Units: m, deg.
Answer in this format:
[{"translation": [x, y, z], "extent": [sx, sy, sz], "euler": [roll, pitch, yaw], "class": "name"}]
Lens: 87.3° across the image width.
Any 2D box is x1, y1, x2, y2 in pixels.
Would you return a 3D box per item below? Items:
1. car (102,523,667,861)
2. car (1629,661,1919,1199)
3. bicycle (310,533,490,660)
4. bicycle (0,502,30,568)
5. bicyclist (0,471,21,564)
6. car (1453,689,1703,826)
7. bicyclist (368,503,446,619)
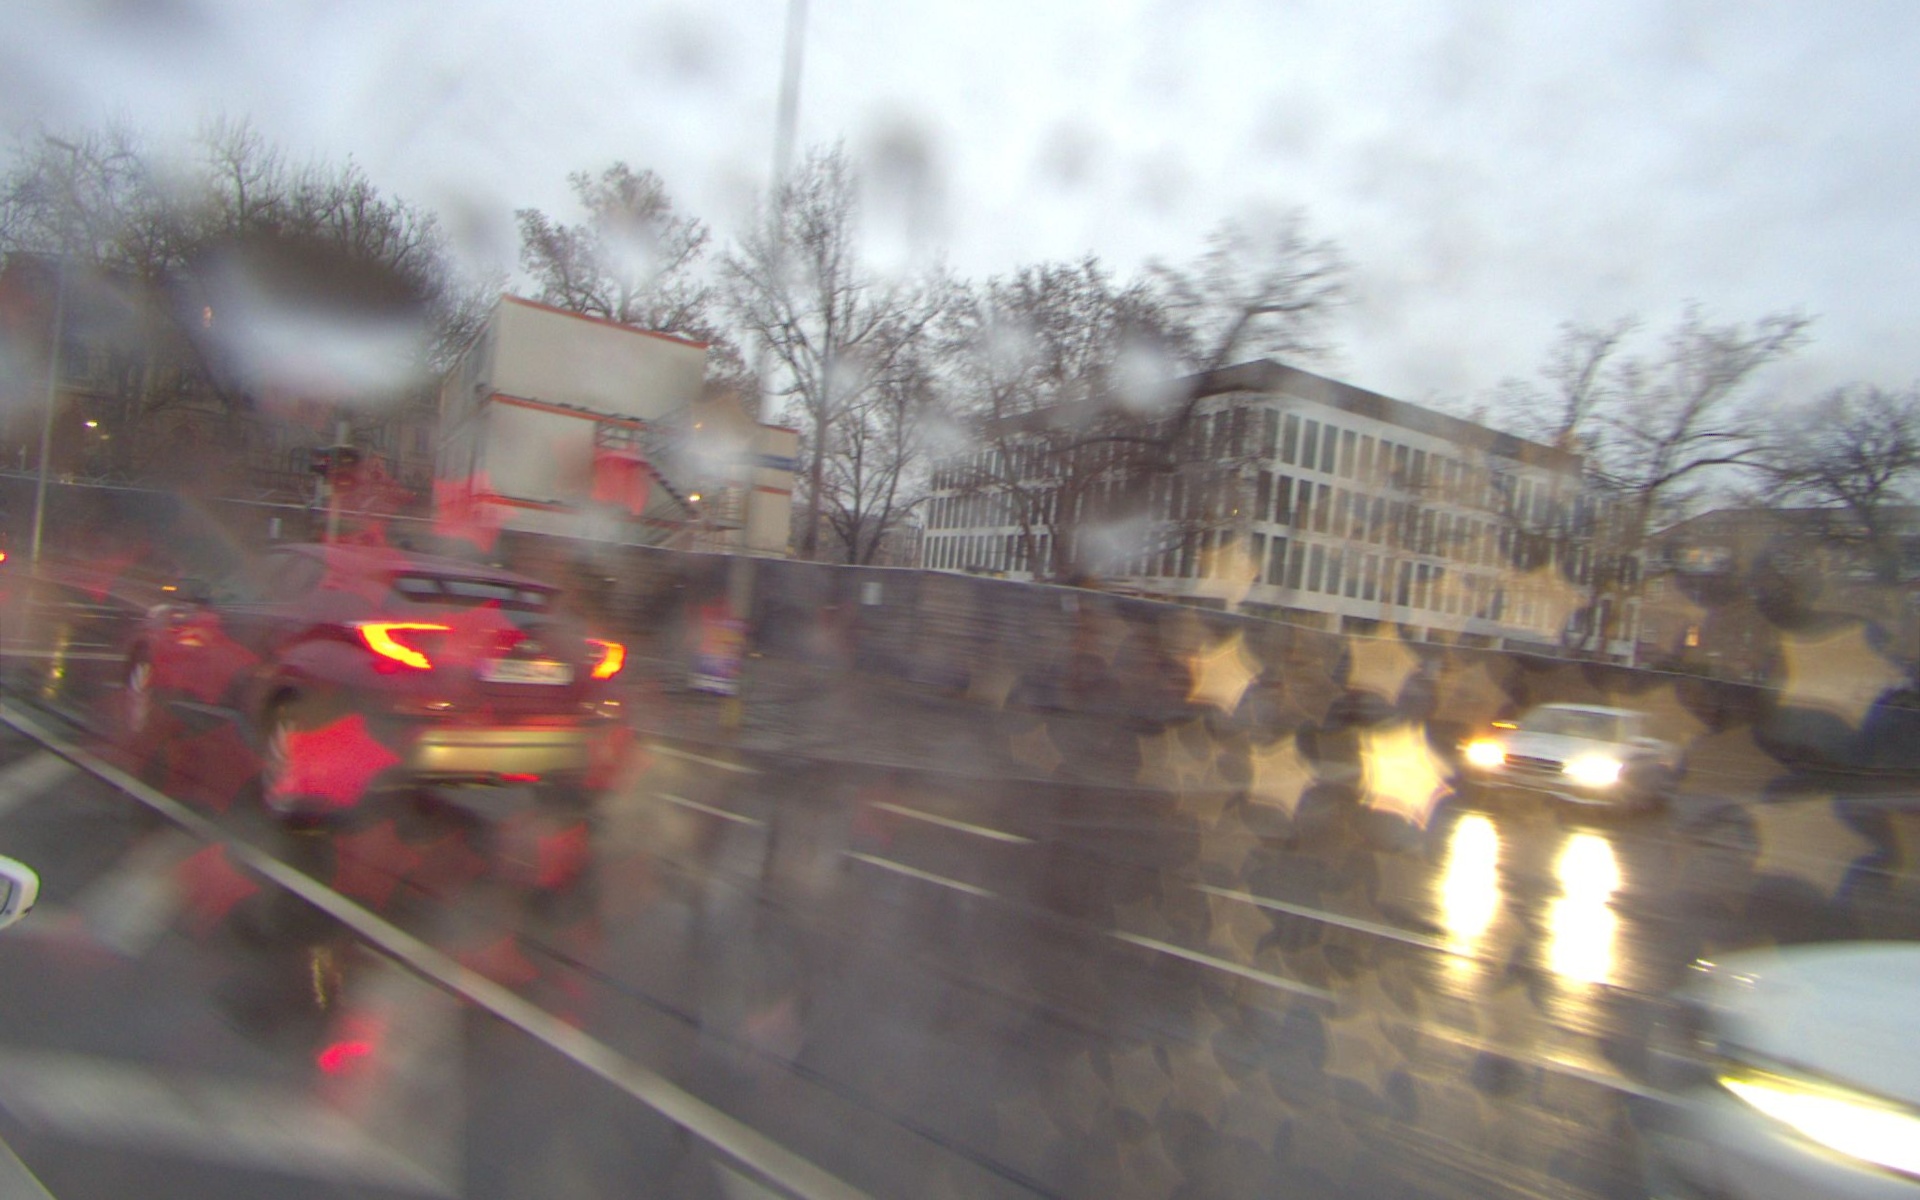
[{"translation": [-3.902, 0.428, 6.567], "extent": [3.941, 1.496, 1.723], "euler": [5, -3, 38], "class": "car"}, {"translation": [4.031, 1.215, 1.521], "extent": [4.890, 1.519, 1.788], "euler": [7, -1, 36], "class": "car"}, {"translation": [-8.805, -0.032, 15.916], "extent": [2.213, 1.676, 0.688], "euler": [7, -2, -16], "class": "bicycle"}, {"translation": [-18.991, -1.334, 19.756], "extent": [1.994, 1.200, 0.412], "euler": [7, 1, 29], "class": "bicycle"}, {"translation": [-19.127, -1.666, 19.880], "extent": [0.823, 1.789, 0.500], "euler": [7, 1, 29], "class": "bicyclist"}, {"translation": [9.231, 2.265, 14.871], "extent": [4.486, 1.507, 1.860], "euler": [7, -1, -42], "class": "car"}, {"translation": [-8.720, -0.596, 15.898], "extent": [0.806, 1.700, 0.694], "euler": [6, 0, -19], "class": "bicyclist"}]
